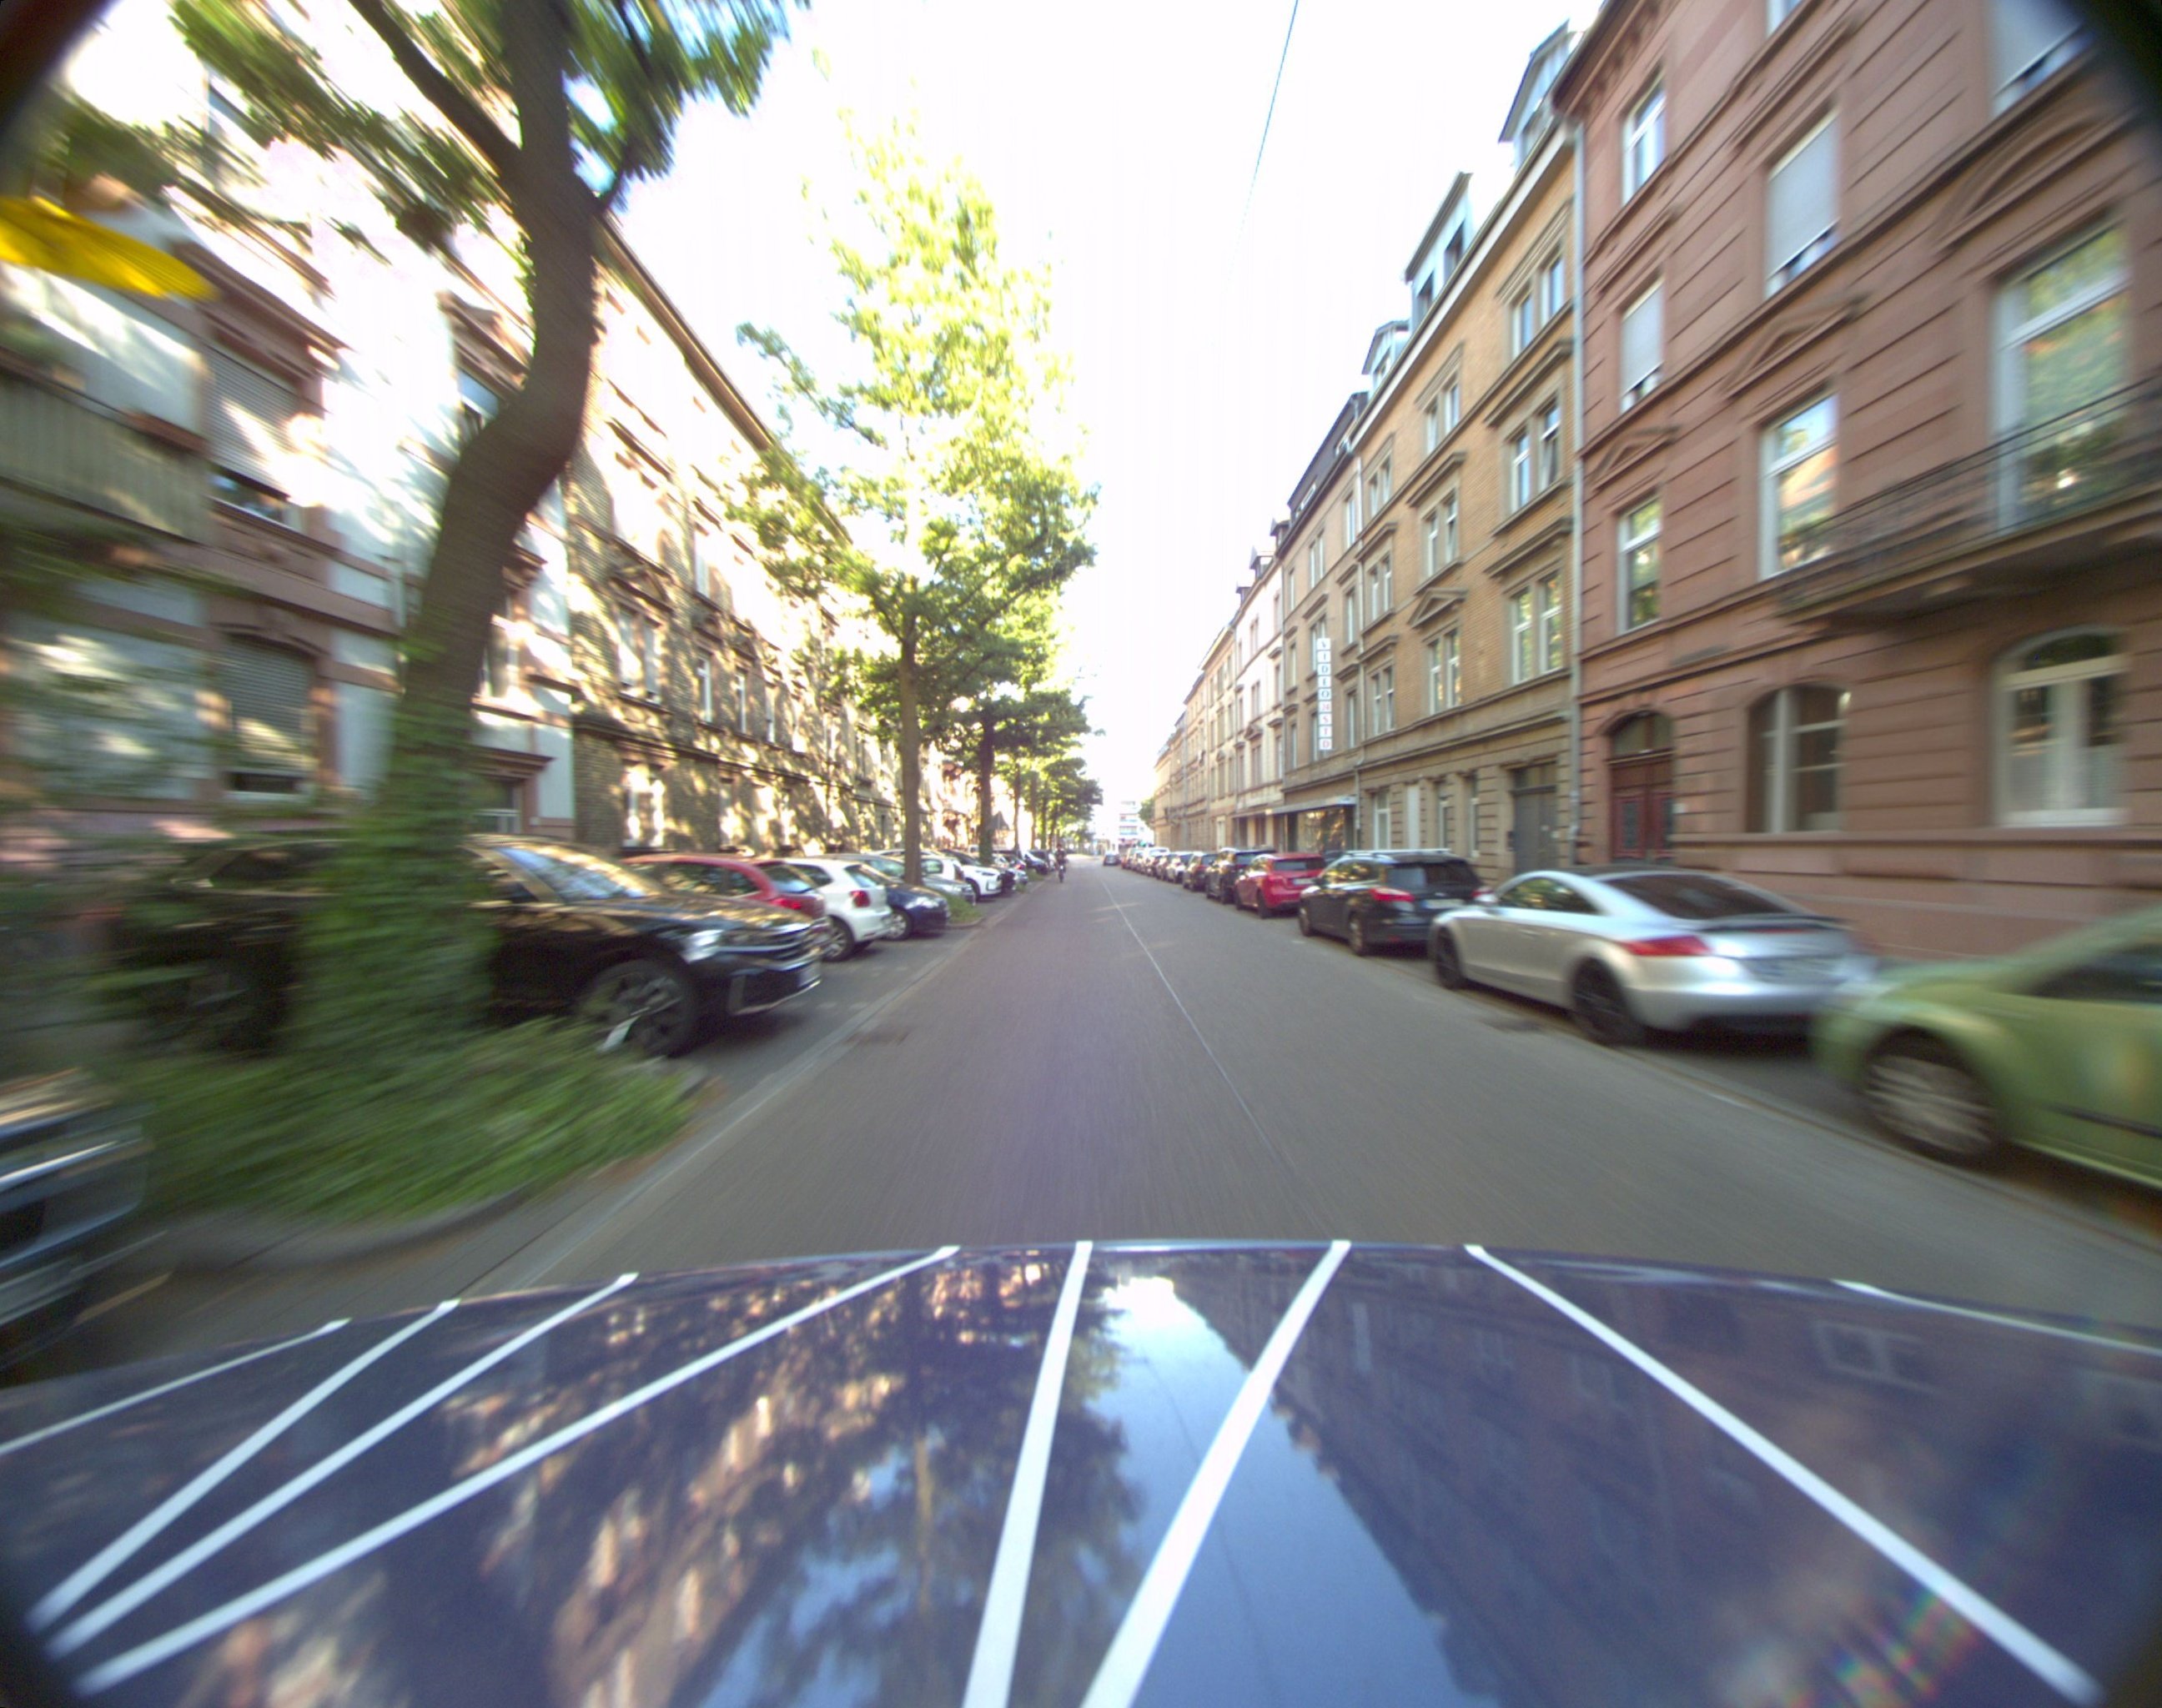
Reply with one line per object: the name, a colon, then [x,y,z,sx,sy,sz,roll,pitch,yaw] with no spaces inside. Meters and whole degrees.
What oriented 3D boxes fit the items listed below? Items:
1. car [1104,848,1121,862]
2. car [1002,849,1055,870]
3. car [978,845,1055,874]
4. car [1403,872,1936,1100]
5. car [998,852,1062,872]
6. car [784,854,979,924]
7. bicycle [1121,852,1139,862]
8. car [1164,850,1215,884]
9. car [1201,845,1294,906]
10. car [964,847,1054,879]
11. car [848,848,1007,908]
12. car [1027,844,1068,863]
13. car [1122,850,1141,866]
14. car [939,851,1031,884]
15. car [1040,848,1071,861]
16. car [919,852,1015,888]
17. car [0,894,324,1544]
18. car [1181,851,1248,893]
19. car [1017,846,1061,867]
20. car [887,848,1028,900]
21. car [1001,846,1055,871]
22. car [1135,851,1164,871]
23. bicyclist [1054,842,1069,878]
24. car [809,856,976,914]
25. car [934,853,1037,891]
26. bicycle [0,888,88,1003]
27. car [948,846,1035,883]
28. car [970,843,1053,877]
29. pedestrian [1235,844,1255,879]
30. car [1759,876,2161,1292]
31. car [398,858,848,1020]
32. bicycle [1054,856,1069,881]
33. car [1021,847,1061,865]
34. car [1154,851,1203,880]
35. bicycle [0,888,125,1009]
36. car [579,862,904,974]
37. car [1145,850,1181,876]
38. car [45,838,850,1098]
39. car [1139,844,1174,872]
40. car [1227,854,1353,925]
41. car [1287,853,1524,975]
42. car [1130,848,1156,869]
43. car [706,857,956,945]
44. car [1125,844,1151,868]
car: [3.754,0.103,90.206,1.868,1.620,3.825,-2,0,2]
car: [-4.346,0.421,63.581,4.243,1.579,1.738,2,1,-1]
car: [-4.236,0.378,50.091,4.683,1.879,1.904,0,0,-21]
car: [4.642,0.899,6.928,1.709,1.315,4.101,-1,0,1]
car: [-3.727,0.594,56.126,4.468,1.360,1.903,1,0,2]
car: [-4.681,0.802,18.362,4.234,1.527,1.800,-1,0,-3]
bicycle: [5.748,0.325,88.673,2.043,1.092,0.587,-2,1,2]
car: [5.100,0.570,36.110,1.761,1.464,4.087,-1,0,-1]
car: [4.883,0.582,22.919,1.825,1.591,4.313,-2,0,0]
car: [-4.062,0.518,43.460,4.933,1.623,2.077,2,0,-3]
car: [-4.636,0.691,23.455,4.487,1.647,1.890,-1,2,-1]
car: [-3.982,-0.021,91.162,4.699,1.966,1.925,4,1,1]
car: [4.931,0.387,74.886,1.641,1.482,3.825,-2,0,0]
car: [-4.518,0.637,36.302,4.155,1.446,1.936,1,1,-1]
car: [-3.456,0.076,103.535,4.056,1.521,1.781,4,1,1]
car: [-5.013,0.685,33.812,3.998,1.486,1.686,-1,1,-2]
car: [-4.902,0.935,1.641,4.563,1.521,2.000,-1,1,2]
car: [5.013,0.616,29.140,1.867,1.464,4.488,-1,0,1]
car: [-4.024,0.215,73.889,4.056,1.876,1.781,2,1,2]
car: [-4.223,0.671,26.479,4.486,1.647,1.891,-1,2,2]
car: [-4.293,0.350,62.136,4.242,1.875,1.782,-2,1,1]
car: [5.082,0.487,56.771,1.641,1.413,3.824,-2,0,-1]
bicyclist: [-1.012,0.303,39.411,0.712,1.865,1.120,0,1,0]
car: [-5.120,0.822,21.032,4.110,1.461,1.801,-1,0,2]
car: [-3.878,0.717,31.282,3.997,1.448,1.687,-1,1,1]
bicycle: [-10.270,0.874,6.838,0.325,1.044,1.704,-1,1,4]
car: [-4.514,0.511,38.864,4.135,1.778,1.945,-1,1,2]
car: [-4.218,0.351,46.564,4.933,1.890,2.175,2,1,-3]
pedestrian: [7.921,0.354,36.670,0.697,1.622,1.018,-1,1,-1]
car: [4.772,0.869,2.429,1.709,1.431,3.958,-1,0,1]
car: [-4.933,0.866,8.675,3.998,1.581,1.782,-1,1,-3]
bicycle: [-1.025,0.748,39.370,0.712,1.252,1.887,0,1,0]
car: [-4.295,0.236,81.190,4.056,1.612,1.781,4,1,1]
car: [5.046,0.559,40.000,1.891,1.436,4.541,-1,0,-1]
bicycle: [-9.876,0.870,6.806,0.366,1.044,1.704,-1,1,4]
car: [-4.820,0.878,11.271,3.998,1.454,1.782,-1,1,-3]
car: [4.979,0.525,46.673,1.751,1.464,4.244,-1,0,0]
car: [-4.433,0.770,5.994,4.658,1.693,1.881,1,1,-3]
car: [5.103,0.251,51.951,1.847,1.823,4.606,-2,0,-1]
car: [4.865,0.758,18.368,1.825,1.417,4.313,-2,0,0]
car: [4.771,0.776,11.983,1.825,1.468,4.423,-2,0,0]
car: [5.130,0.354,63.183,1.771,1.648,4.157,-2,0,0]
car: [-4.460,0.815,13.979,3.997,1.380,1.677,2,1,0]
car: [5.147,0.177,69.354,1.947,2.045,4.744,-2,0,0]
